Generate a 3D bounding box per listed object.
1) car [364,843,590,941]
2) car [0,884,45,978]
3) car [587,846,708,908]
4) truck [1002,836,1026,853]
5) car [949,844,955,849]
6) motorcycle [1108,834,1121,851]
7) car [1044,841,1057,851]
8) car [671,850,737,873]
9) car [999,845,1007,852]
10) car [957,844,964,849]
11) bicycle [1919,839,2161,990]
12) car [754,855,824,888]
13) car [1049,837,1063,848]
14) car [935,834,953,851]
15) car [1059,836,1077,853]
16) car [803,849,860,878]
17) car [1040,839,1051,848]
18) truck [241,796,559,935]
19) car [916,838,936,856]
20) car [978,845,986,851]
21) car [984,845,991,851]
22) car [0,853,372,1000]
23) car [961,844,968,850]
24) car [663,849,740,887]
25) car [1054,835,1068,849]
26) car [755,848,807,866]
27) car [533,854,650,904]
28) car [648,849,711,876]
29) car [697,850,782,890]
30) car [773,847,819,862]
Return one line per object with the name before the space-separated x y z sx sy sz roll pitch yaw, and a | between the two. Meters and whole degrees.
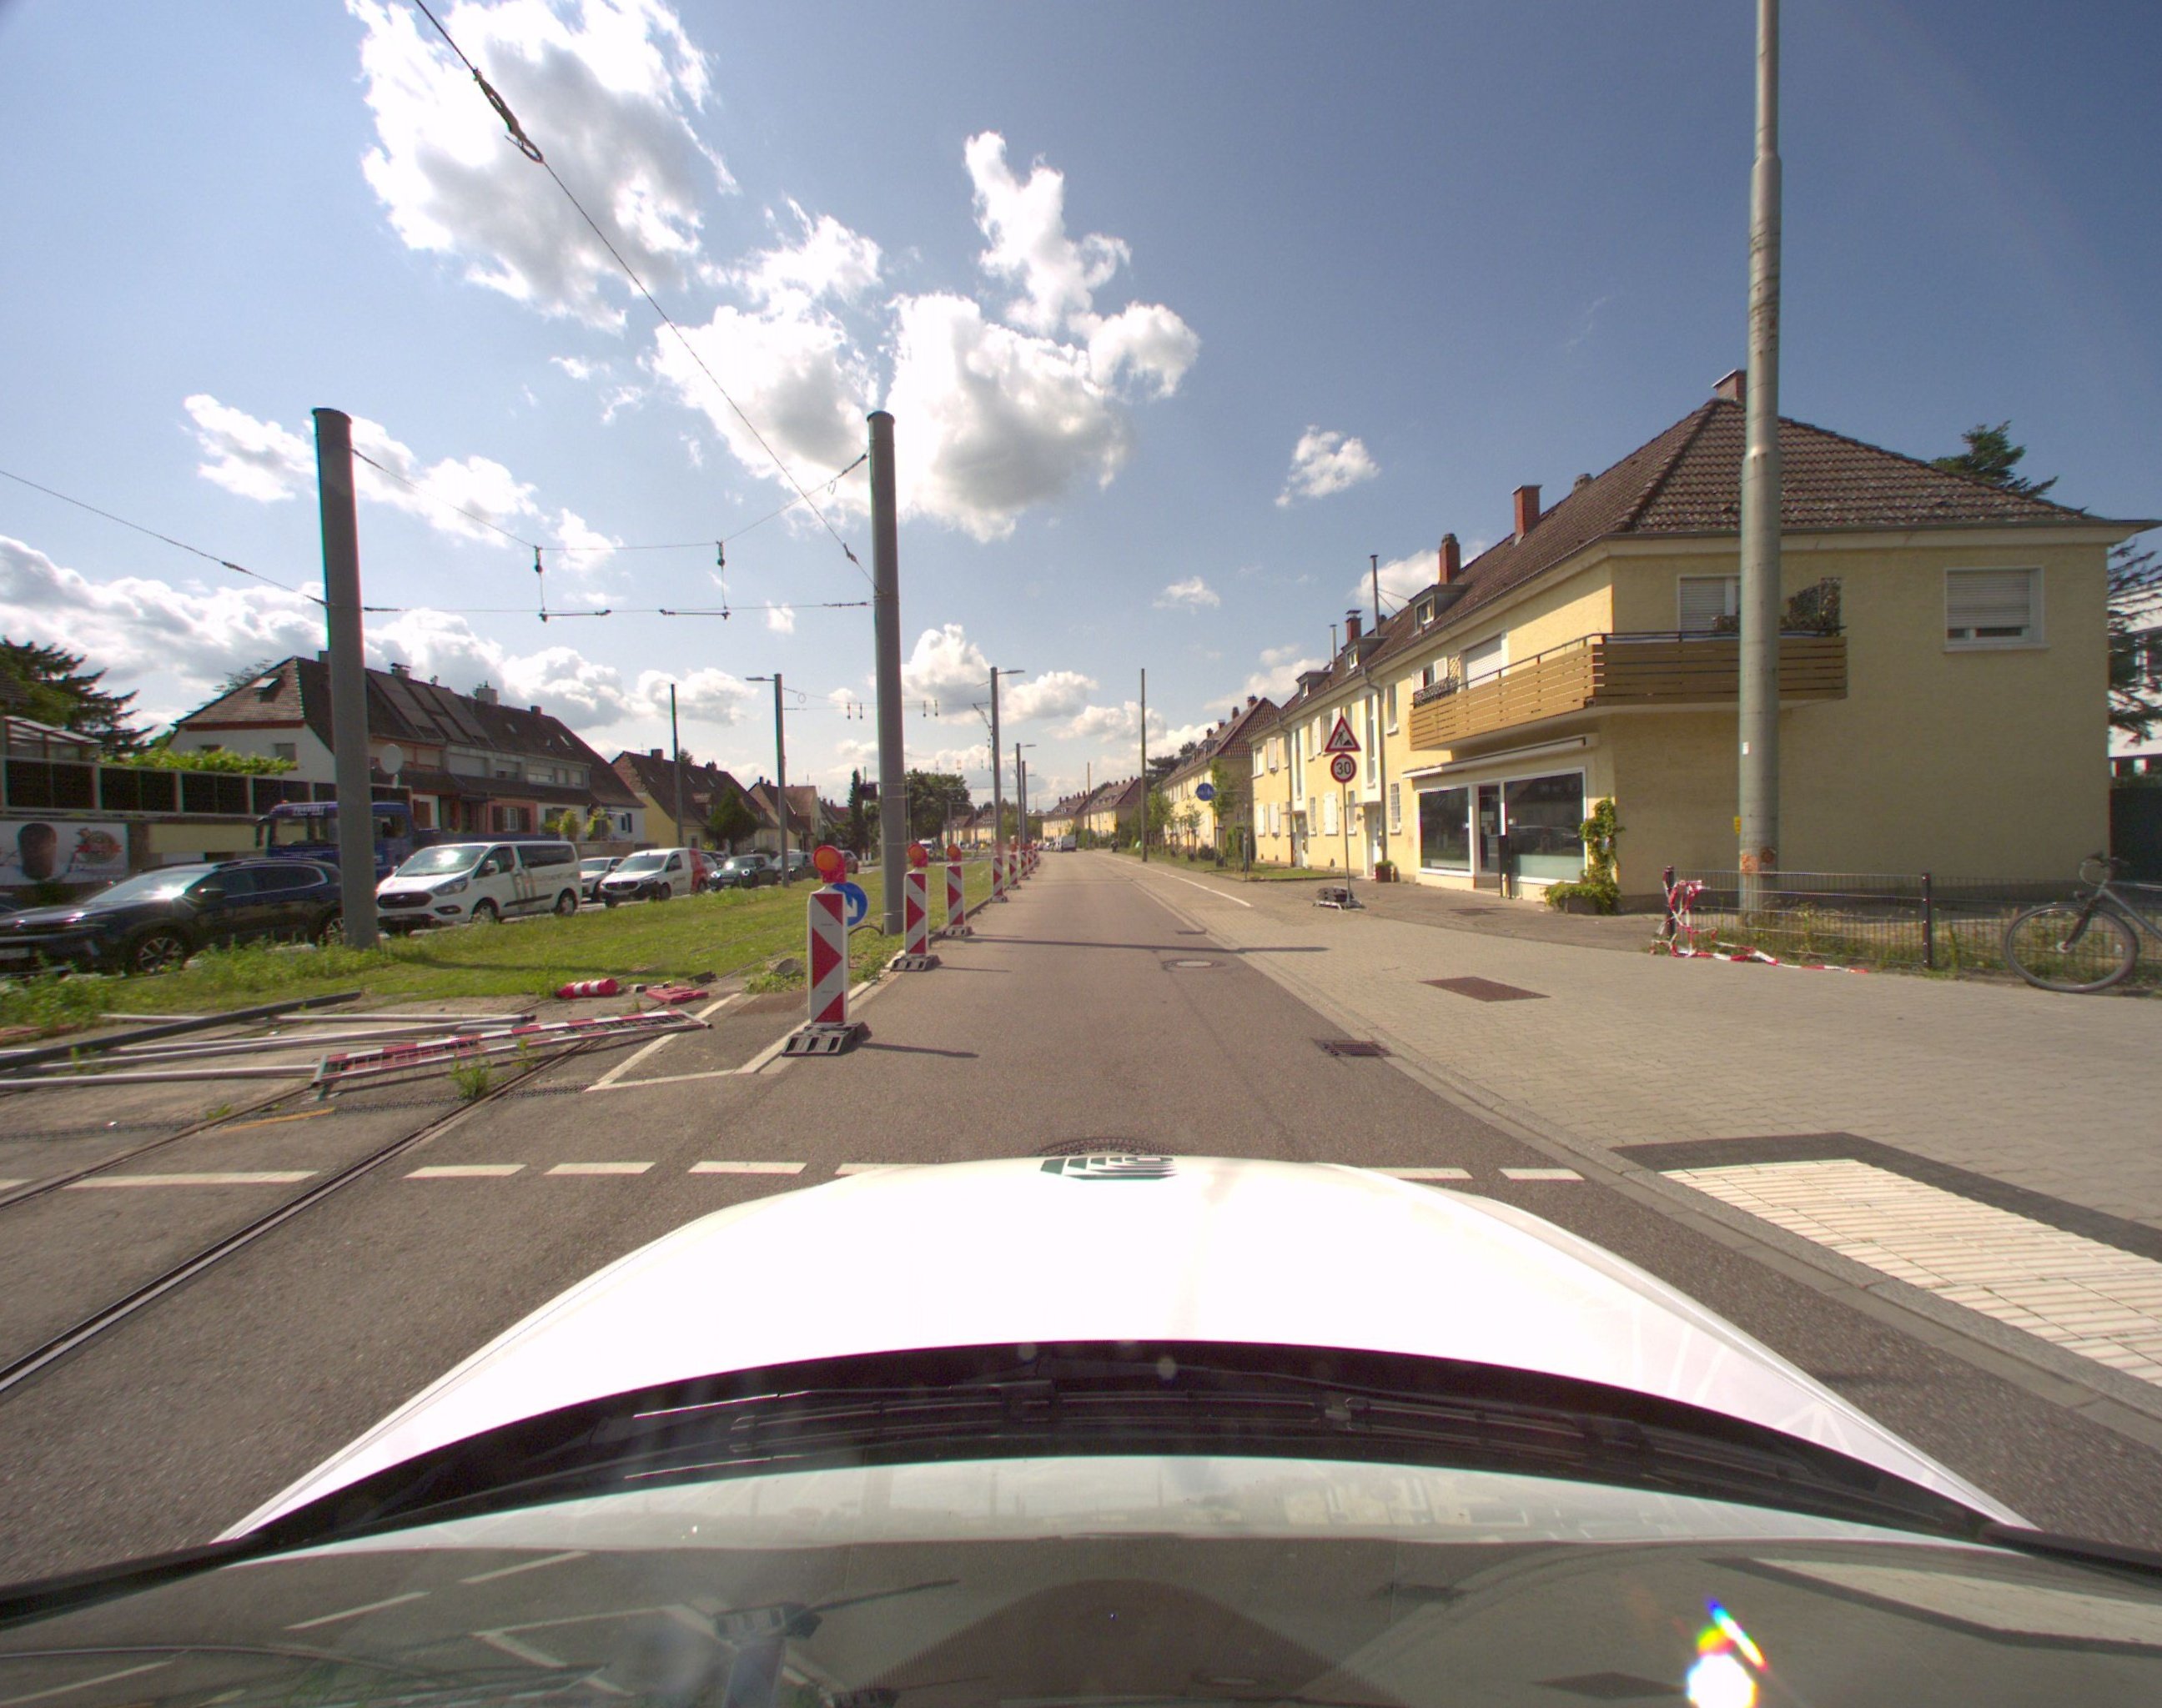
car | -13.776 0.747 19.030 1.810 1.921 4.744 -2 1 -3
car | -18.349 1.313 11.488 1.822 1.487 4.334 -2 1 0
car | -14.183 0.673 26.975 1.729 1.782 4.401 -2 1 -3
truck | -14.146 -1.977 171.366 2.648 3.493 9.380 -2 1 -18
car | -37.699 -2.069 237.754 1.263 1.426 2.645 -2 1 -23
motorcycle | 3.448 -1.167 83.845 1.064 1.635 2.082 -2 1 -3
car | -4.894 -1.304 130.079 1.567 1.551 3.779 -2 1 -8
car | -27.220 0.539 58.918 3.944 1.491 1.602 3 0 -4
car | -17.548 -1.291 183.432 1.261 1.426 2.649 -2 1 -18
car | -33.751 -2.033 227.597 1.171 1.426 2.645 -3 1 -22
bicycle | 8.185 0.446 6.337 0.595 1.096 2.261 -2 1 -20
car | -14.316 0.811 40.259 1.839 1.413 4.912 -2 1 -3
car | -3.825 -1.762 124.555 1.567 1.551 3.779 -2 1 -8
car | -20.483 -1.786 121.778 2.408 2.370 4.860 -2 1 -12
car | -1.735 -1.291 109.764 2.062 2.149 4.871 -2 1 -4
car | -14.344 0.516 47.142 1.838 1.493 4.854 -2 1 -1
car | -6.237 -1.835 141.976 1.567 1.551 3.469 -2 1 -8
truck | -18.600 0.222 23.148 2.762 3.188 7.575 -2 1 -3
car | -20.868 -0.956 109.590 2.408 2.338 4.860 -2 1 -12
car | -25.336 -1.501 208.650 1.262 1.426 2.646 -3 1 -21
car | -23.489 -1.430 204.007 1.262 1.426 2.648 -3 1 -20
car | -13.827 0.932 12.588 1.781 1.720 4.439 -2 2 -1
car | -32.069 -1.978 223.476 1.171 1.426 2.645 -3 1 -22
car | -18.807 0.659 40.620 1.839 1.668 4.502 -2 1 -3
car | -2.967 -1.755 119.304 1.567 1.897 3.779 -2 1 -8
car | -28.175 0.301 76.623 4.097 1.466 1.990 -2 1 -2
car | -18.858 0.905 31.654 1.838 1.659 4.436 -2 1 -1
car | -27.167 0.556 55.213 3.377 1.594 1.602 3 0 -4
car | -14.050 0.610 33.722 1.910 1.418 3.996 -2 1 -3
car | -28.208 0.036 80.653 3.977 1.398 1.703 -1 1 -2
